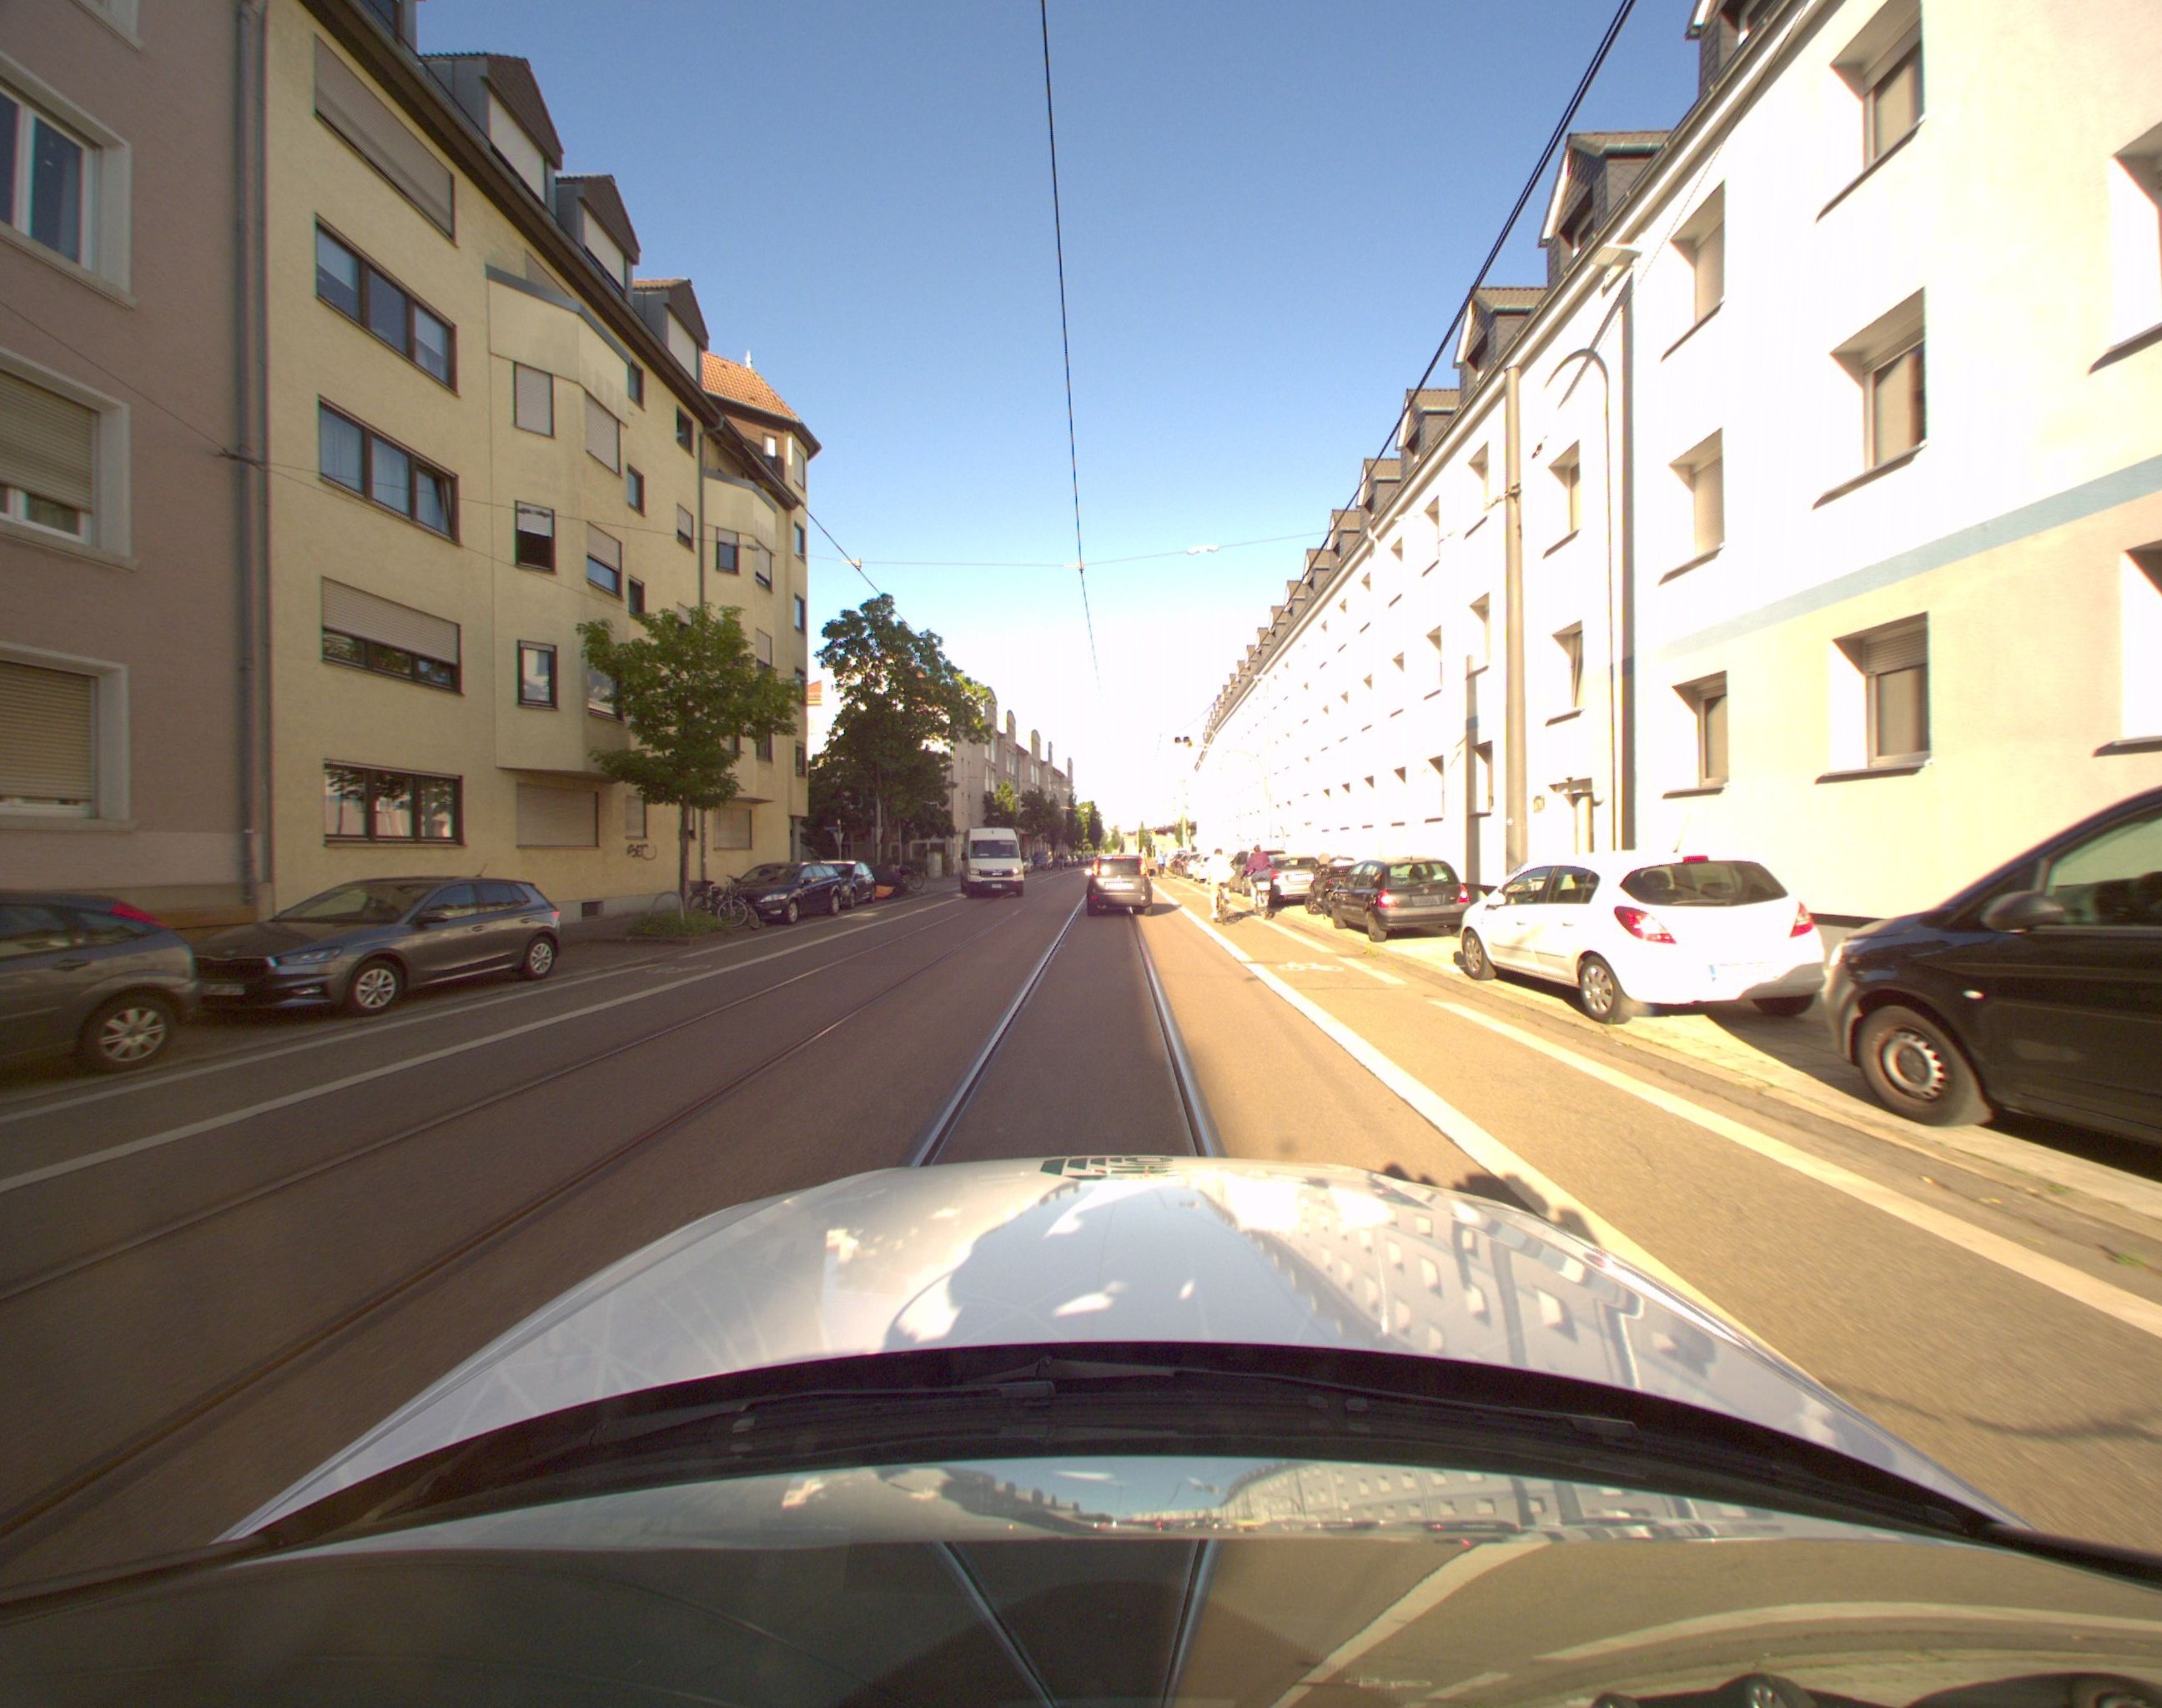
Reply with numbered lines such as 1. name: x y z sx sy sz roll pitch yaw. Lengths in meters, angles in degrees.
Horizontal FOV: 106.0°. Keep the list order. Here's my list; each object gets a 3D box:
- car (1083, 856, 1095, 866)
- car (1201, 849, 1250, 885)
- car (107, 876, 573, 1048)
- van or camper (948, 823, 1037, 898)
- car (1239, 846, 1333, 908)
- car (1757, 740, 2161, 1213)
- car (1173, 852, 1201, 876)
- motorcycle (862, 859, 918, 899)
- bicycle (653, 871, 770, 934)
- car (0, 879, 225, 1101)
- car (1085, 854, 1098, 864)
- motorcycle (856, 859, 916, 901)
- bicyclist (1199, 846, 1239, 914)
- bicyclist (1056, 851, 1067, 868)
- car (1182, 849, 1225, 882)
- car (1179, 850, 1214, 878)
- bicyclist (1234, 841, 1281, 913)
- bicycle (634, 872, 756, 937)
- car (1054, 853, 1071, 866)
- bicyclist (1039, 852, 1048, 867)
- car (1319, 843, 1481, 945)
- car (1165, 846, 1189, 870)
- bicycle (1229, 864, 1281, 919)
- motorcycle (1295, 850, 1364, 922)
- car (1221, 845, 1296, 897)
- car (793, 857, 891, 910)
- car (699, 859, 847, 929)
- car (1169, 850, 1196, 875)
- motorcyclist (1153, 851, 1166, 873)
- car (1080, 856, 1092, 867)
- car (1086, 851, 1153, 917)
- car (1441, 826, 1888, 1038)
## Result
1. car: 1.157 1.039 122.080 1.585 1.540 3.194 -1 0 3
2. car: 6.684 0.560 37.948 1.508 1.430 4.203 -6 0 2
3. car: -8.300 1.079 9.755 1.758 1.473 4.043 2 0 1
4. van or camper: -3.590 0.226 31.623 2.374 2.553 6.799 -1 0 -15
5. car: 5.870 0.607 23.836 1.856 1.555 4.370 -3 0 4
6. car: 5.295 0.461 2.811 1.921 1.921 5.008 -3 0 3
7. car: 7.216 0.653 55.531 1.584 1.537 4.011 -3 0 4
8. motorcycle: -7.222 0.933 30.837 1.965 1.447 0.719 -1 0 -5
9. bicycle: -8.261 1.080 18.253 2.284 1.334 0.700 -1 0 1
10. car: -8.497 0.981 5.071 1.758 1.473 4.184 2 0 3
11. car: 1.712 0.771 128.200 1.836 1.646 3.701 -1 0 3
12. motorcycle: -7.056 0.923 29.529 1.965 1.447 0.835 -1 0 -5
13. bicyclist: 3.057 0.565 18.174 0.725 1.462 1.021 -1 0 1
14. bicyclist: -1.841 0.512 76.819 0.878 1.561 0.868 -4 0 2
15. car: 6.340 0.565 42.504 1.673 1.571 4.512 -3 0 2
16. car: 7.056 0.582 50.071 1.747 1.571 3.908 -4 0 4
17. bicyclist: 4.238 0.542 19.622 0.931 1.676 0.970 -1 0 1
18. bicycle: -8.282 1.076 17.532 2.284 1.334 0.700 -1 0 1
19. car: -2.208 0.668 99.415 1.657 1.618 4.005 -1 0 4
20. bicyclist: -3.531 0.508 76.853 0.620 1.380 0.868 -5 0 2
21. car: 5.682 0.641 15.013 1.602 1.571 3.908 -3 0 4
22. car: 8.261 0.332 70.412 1.779 1.970 4.158 -3 0 4
23. bicycle: 4.220 0.878 19.958 0.818 1.236 2.463 0 0 2
24. motorcycle: 5.655 0.669 18.698 0.802 1.521 2.709 -1 0 2
25. car: 6.329 0.562 29.536 1.749 1.665 4.627 -3 0 1
26. car: -7.664 0.884 26.513 1.728 1.542 4.133 -1 0 3
27. car: -7.755 0.944 21.086 1.757 1.542 4.738 -1 0 3
28. car: 7.502 0.572 60.466 1.653 1.669 3.907 -4 0 3
29. motorcyclist: 4.961 0.493 51.362 0.725 1.405 1.021 -1 0 1
30. car: 0.720 1.015 118.026 1.585 1.540 3.194 -1 0 3
31. car: 0.995 0.704 20.840 1.550 1.533 3.489 -1 0 3
32. car: 5.385 0.604 8.271 1.793 1.571 3.906 -3 0 2
